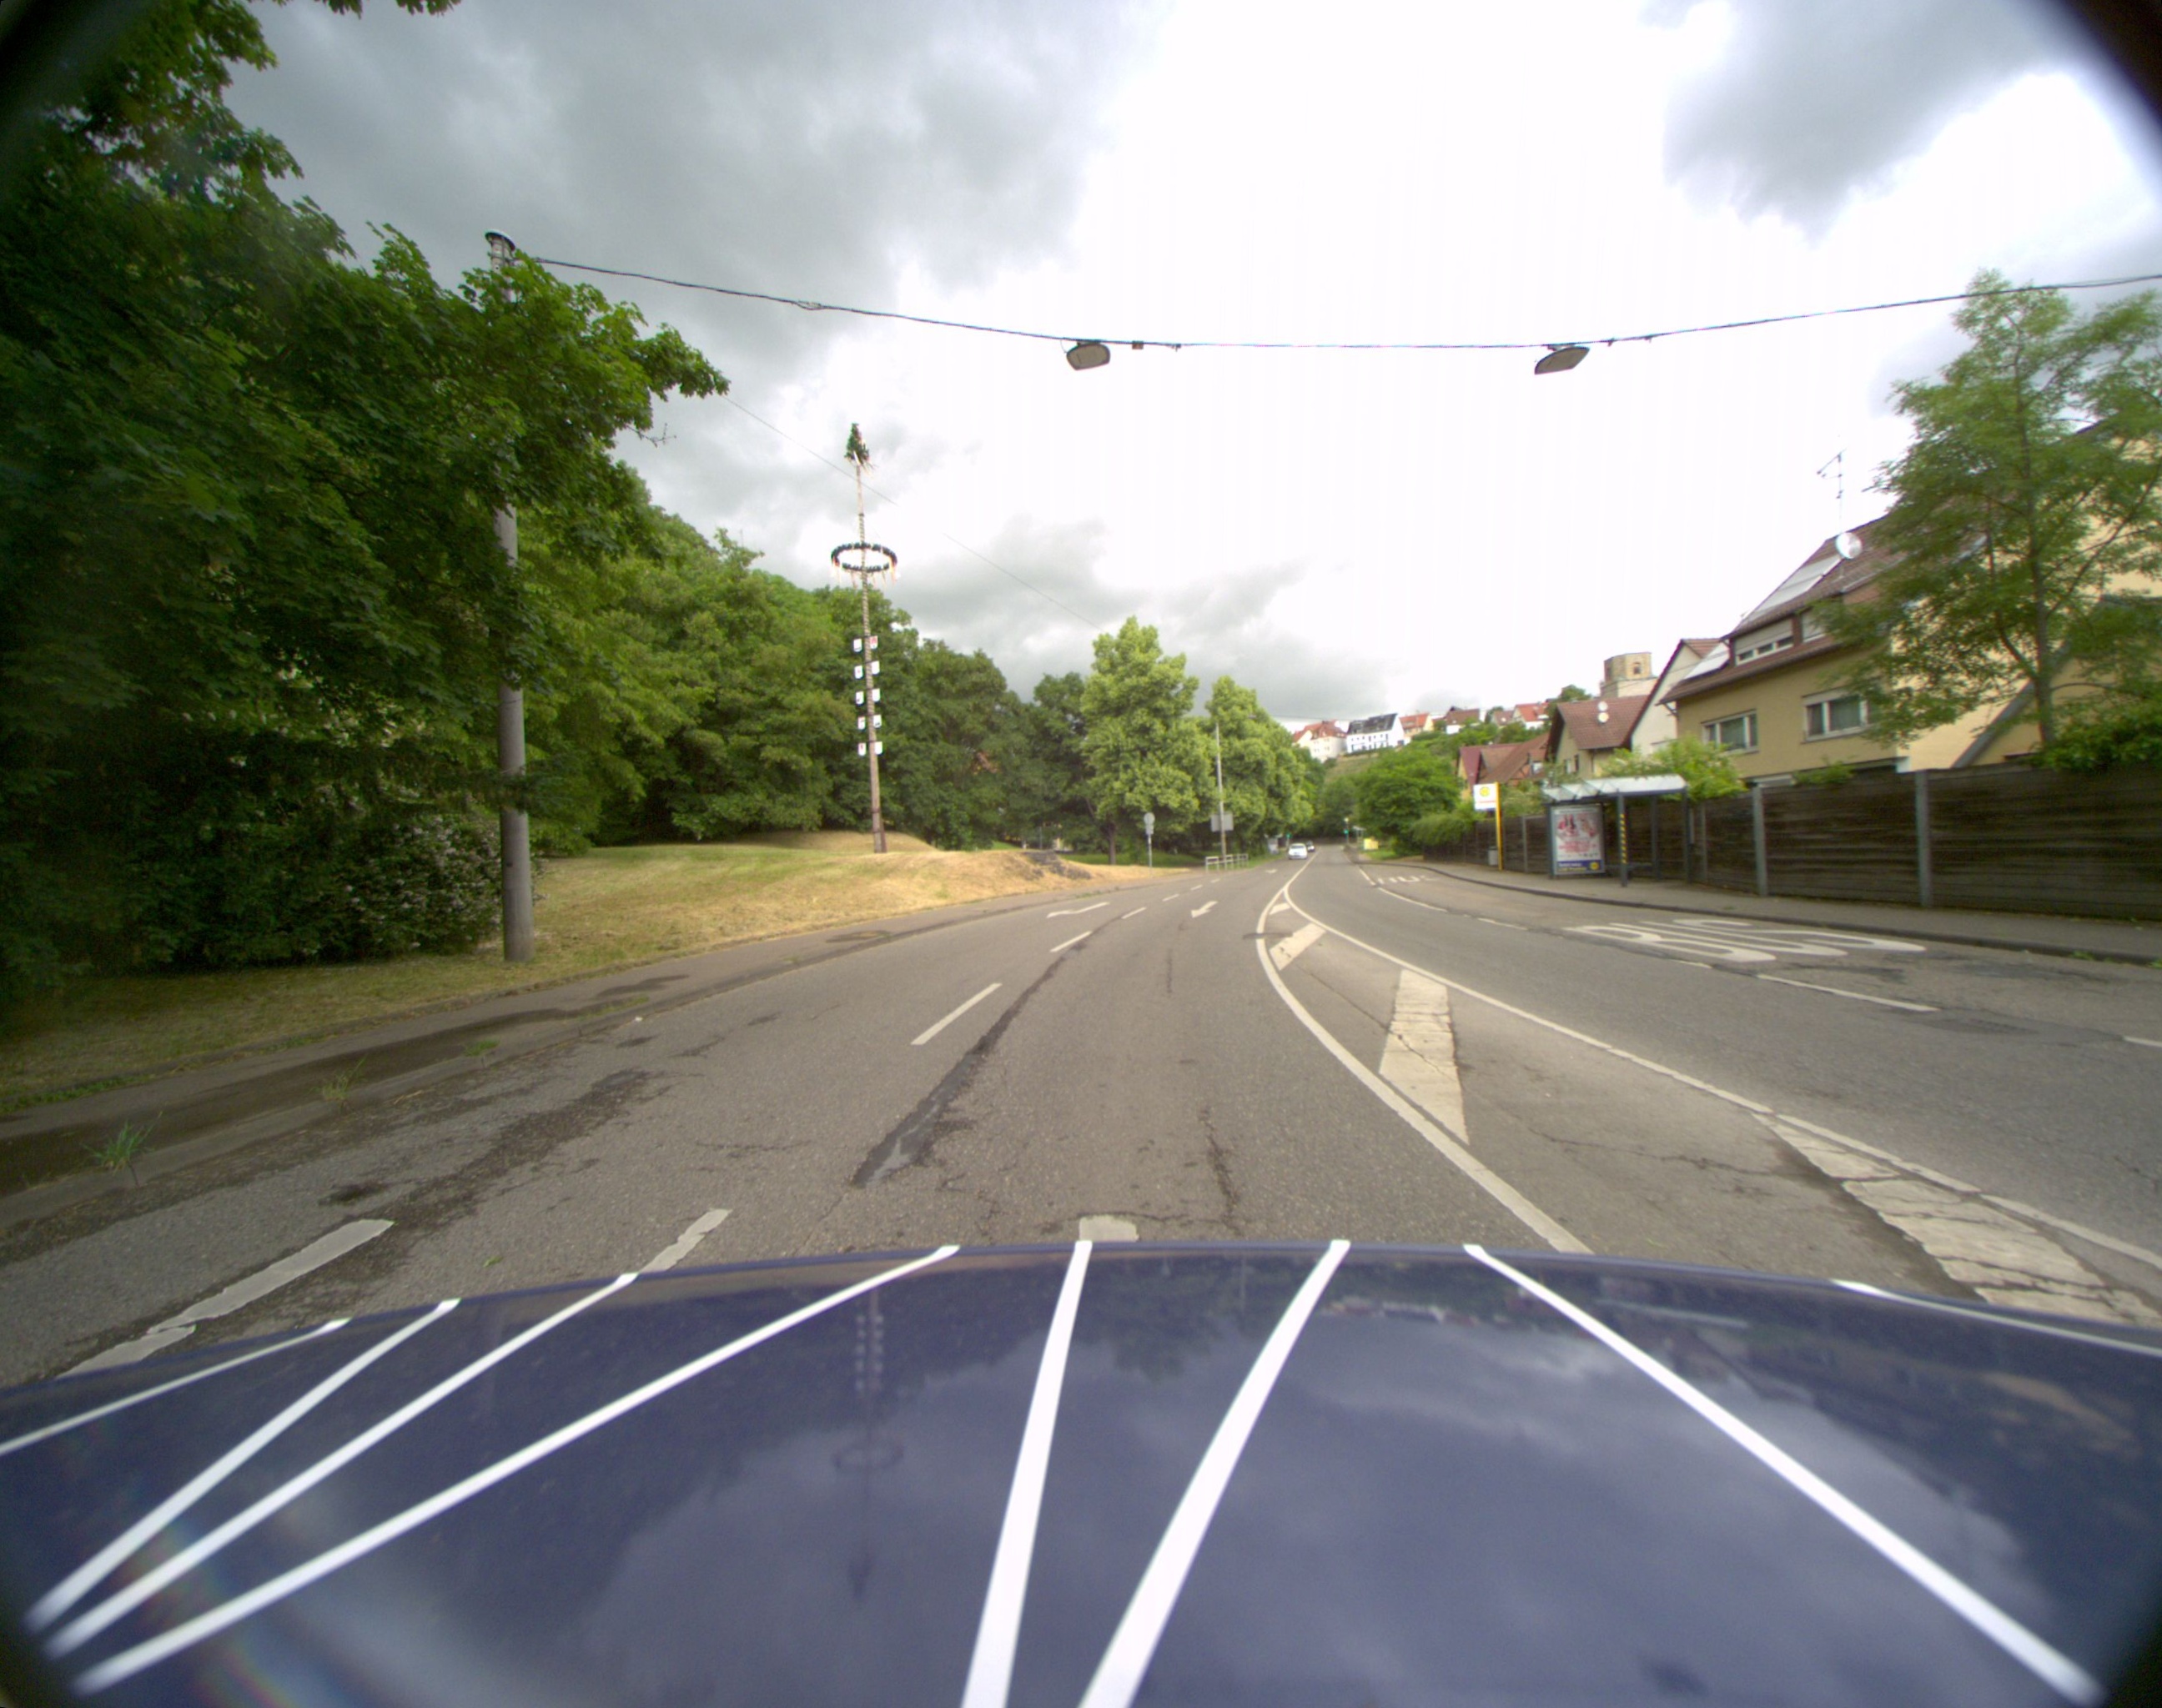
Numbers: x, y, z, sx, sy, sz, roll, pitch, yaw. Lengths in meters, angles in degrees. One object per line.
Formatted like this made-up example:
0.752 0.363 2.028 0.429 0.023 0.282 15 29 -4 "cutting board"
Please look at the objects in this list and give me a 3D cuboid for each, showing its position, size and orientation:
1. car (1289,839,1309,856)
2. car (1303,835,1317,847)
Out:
21.088 -0.658 73.526 1.762 1.516 3.687 -2 1 14 "car"
32.609 -1.856 108.266 1.761 1.575 3.687 -2 1 17 "car"
